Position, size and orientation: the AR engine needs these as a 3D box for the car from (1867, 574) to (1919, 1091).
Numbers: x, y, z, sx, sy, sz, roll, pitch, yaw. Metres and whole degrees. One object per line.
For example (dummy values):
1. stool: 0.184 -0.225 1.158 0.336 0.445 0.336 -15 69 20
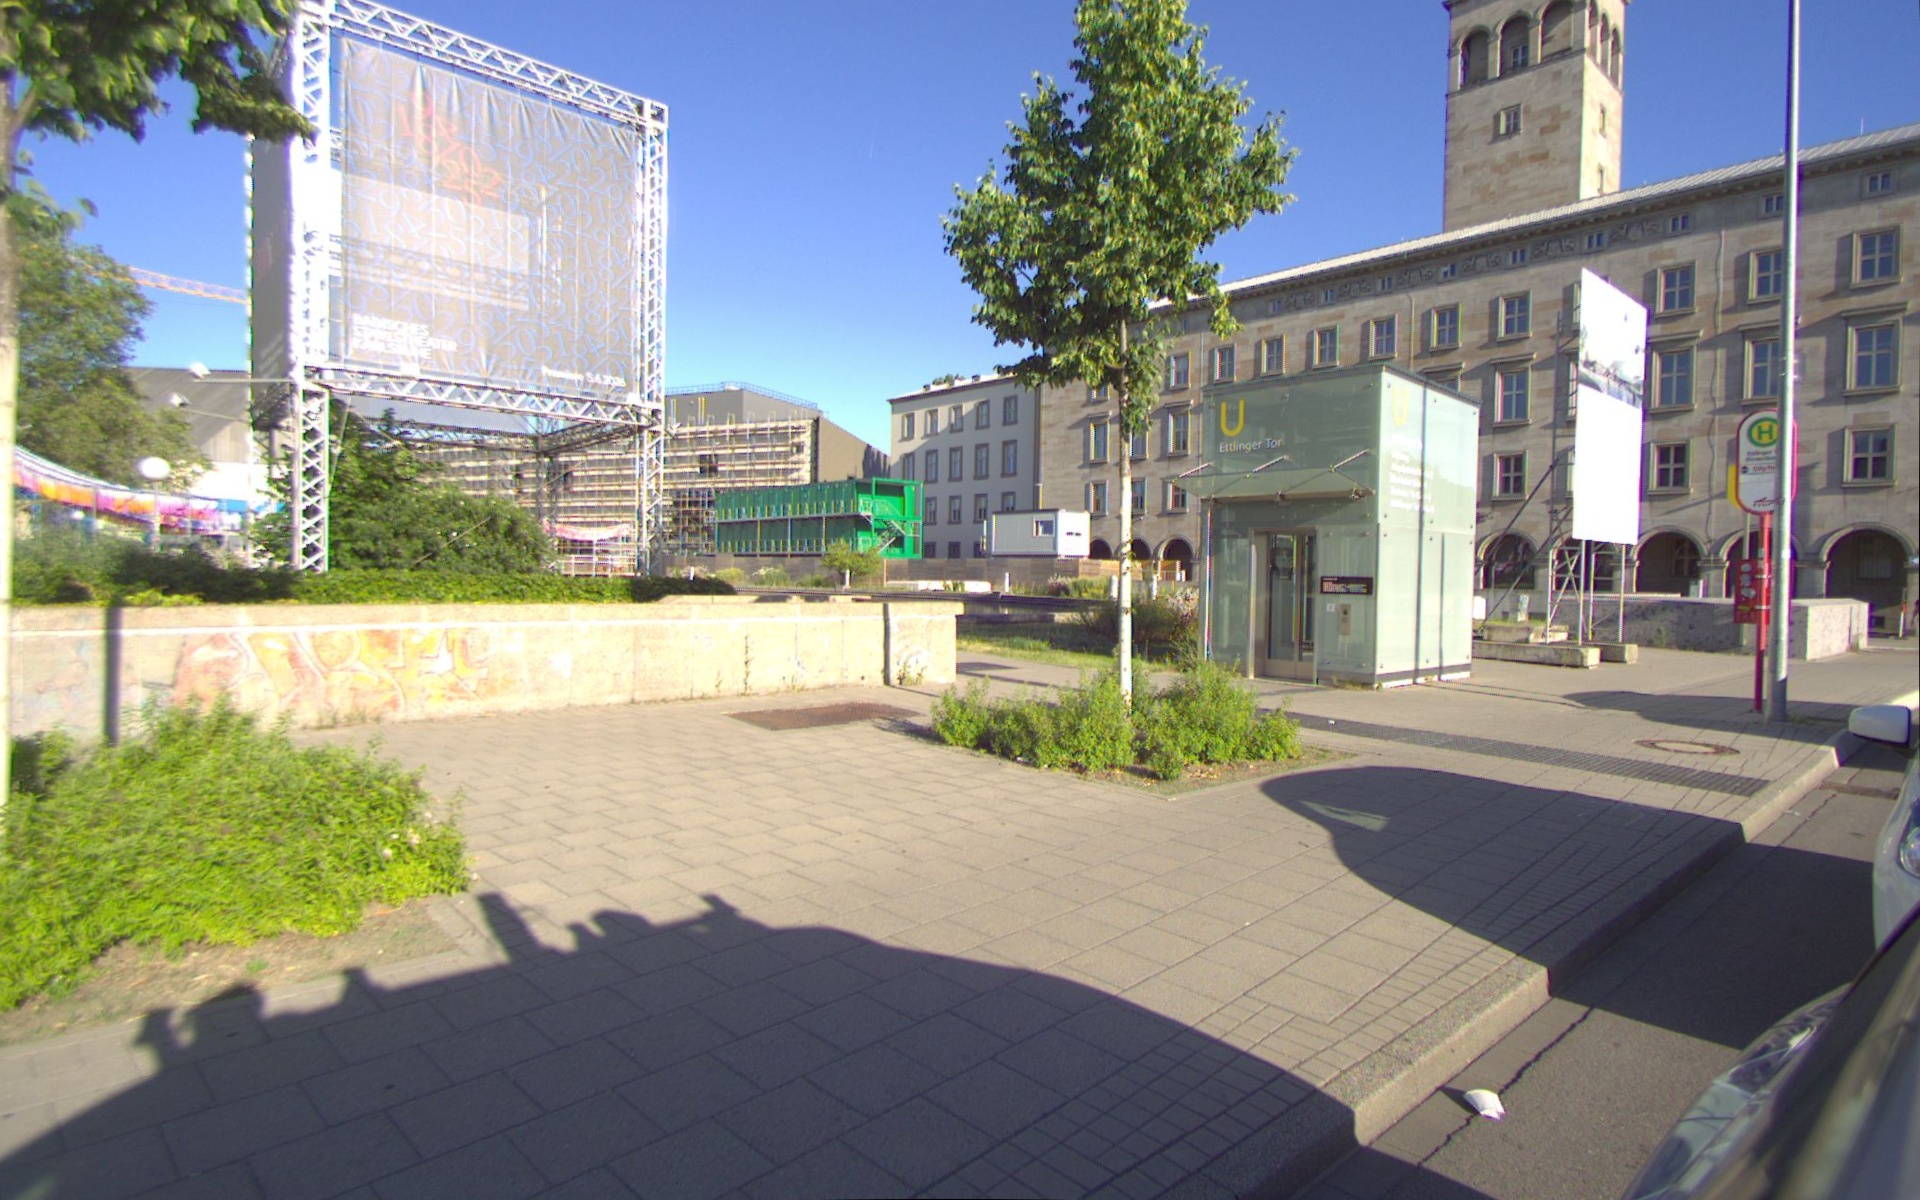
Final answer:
1. car: 4.650 0.678 3.674 3.930 1.473 1.518 0 2 -41
